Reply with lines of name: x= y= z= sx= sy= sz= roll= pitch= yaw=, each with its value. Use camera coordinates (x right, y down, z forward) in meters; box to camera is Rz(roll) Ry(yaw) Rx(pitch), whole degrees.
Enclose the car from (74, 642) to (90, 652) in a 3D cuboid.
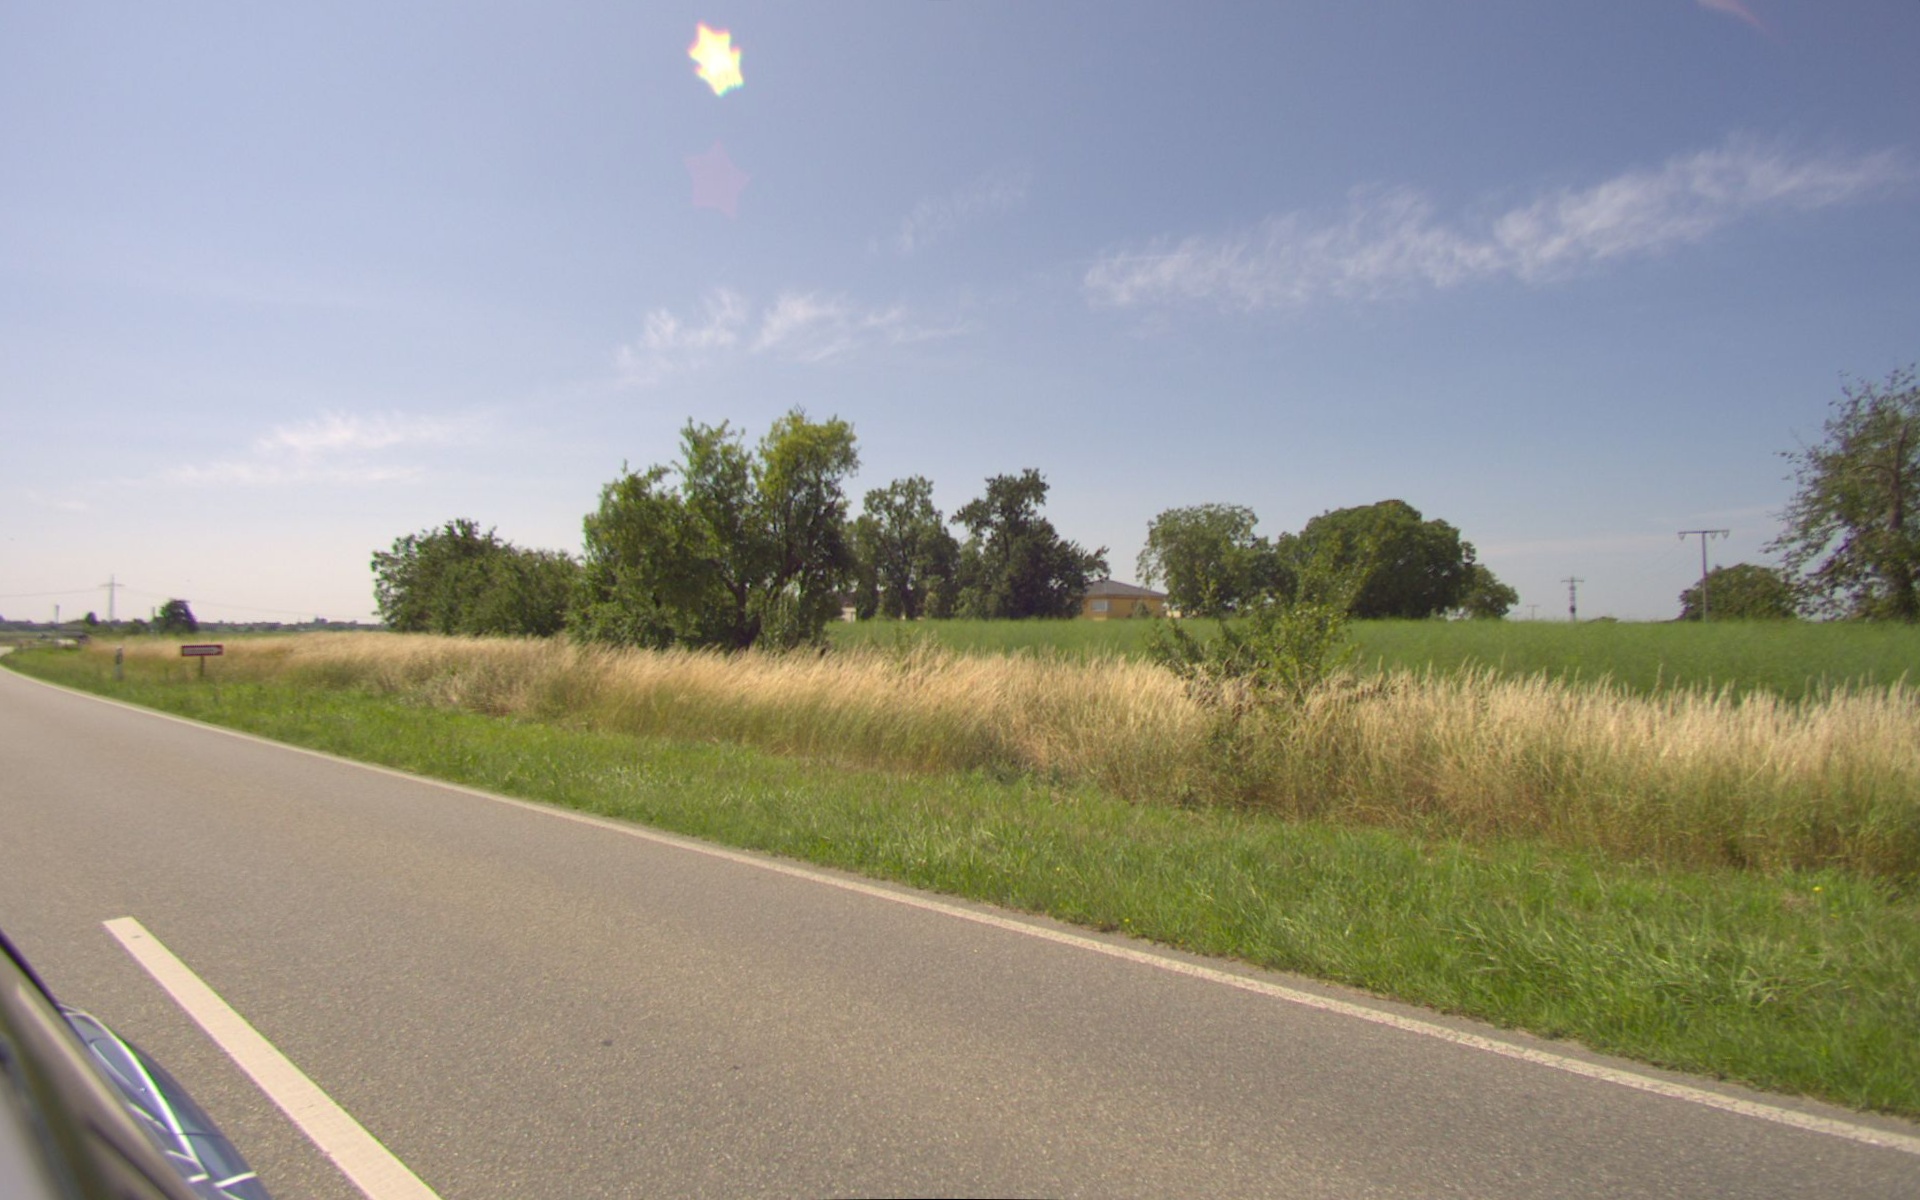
car: x=-155.651 y=8.288 z=179.425 sx=1.908 sy=1.765 sz=5.213 roll=4 pitch=-4 yaw=-38
